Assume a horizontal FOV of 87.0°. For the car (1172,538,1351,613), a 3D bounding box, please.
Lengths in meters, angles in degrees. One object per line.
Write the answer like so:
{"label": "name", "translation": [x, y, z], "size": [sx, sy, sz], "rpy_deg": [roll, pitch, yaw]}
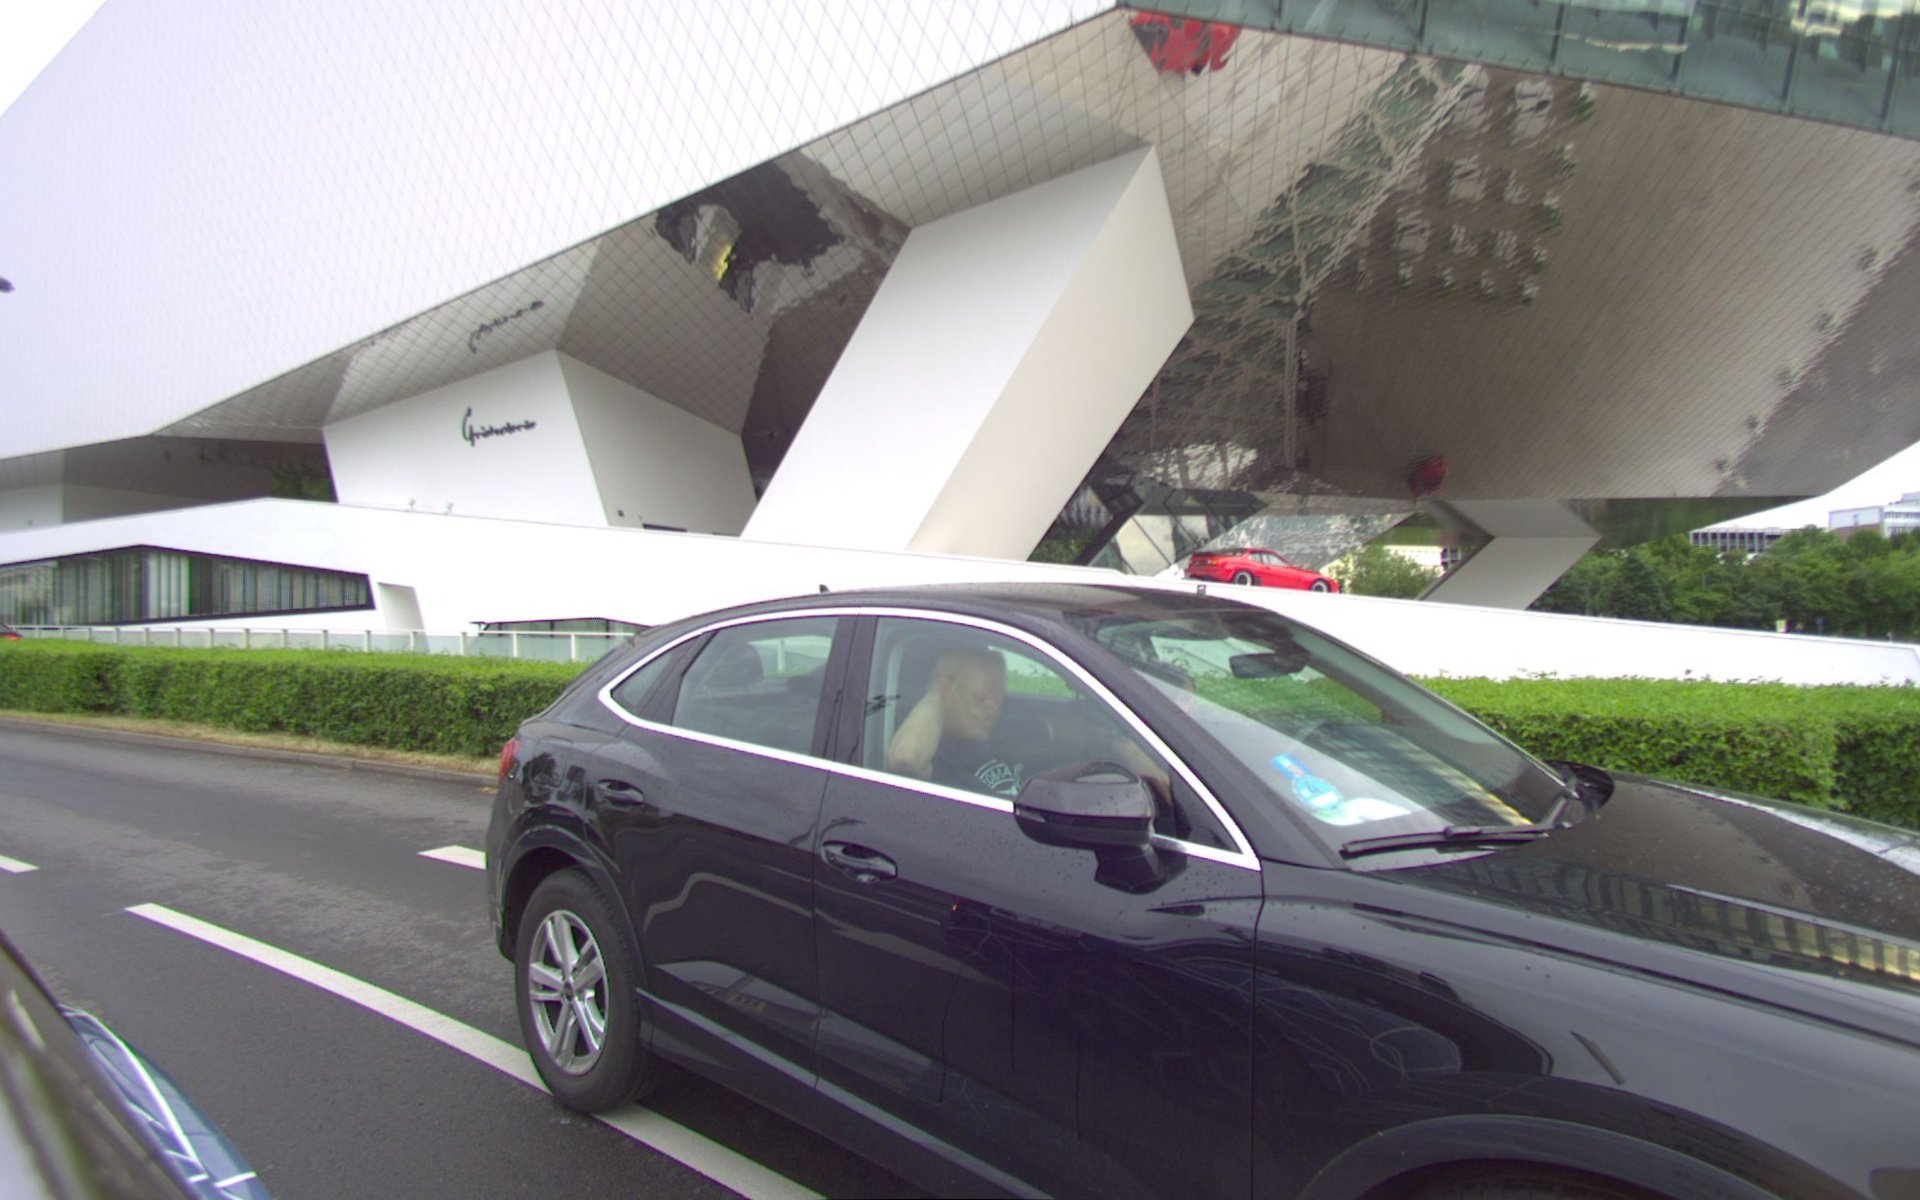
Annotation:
{"label": "car", "translation": [8.223, -0.614, 27.701], "size": [4.175, 1.395, 2.006], "rpy_deg": [7, -4, -16]}

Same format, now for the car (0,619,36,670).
{"label": "car", "translation": [-27.624, 1.218, 28.023], "size": [3.979, 1.347, 1.710], "rpy_deg": [-1, 0, 27]}

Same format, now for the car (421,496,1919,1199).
{"label": "car", "translation": [0.385, 0.676, 2.675], "size": [4.392, 1.529, 1.734], "rpy_deg": [-1, 0, 41]}
